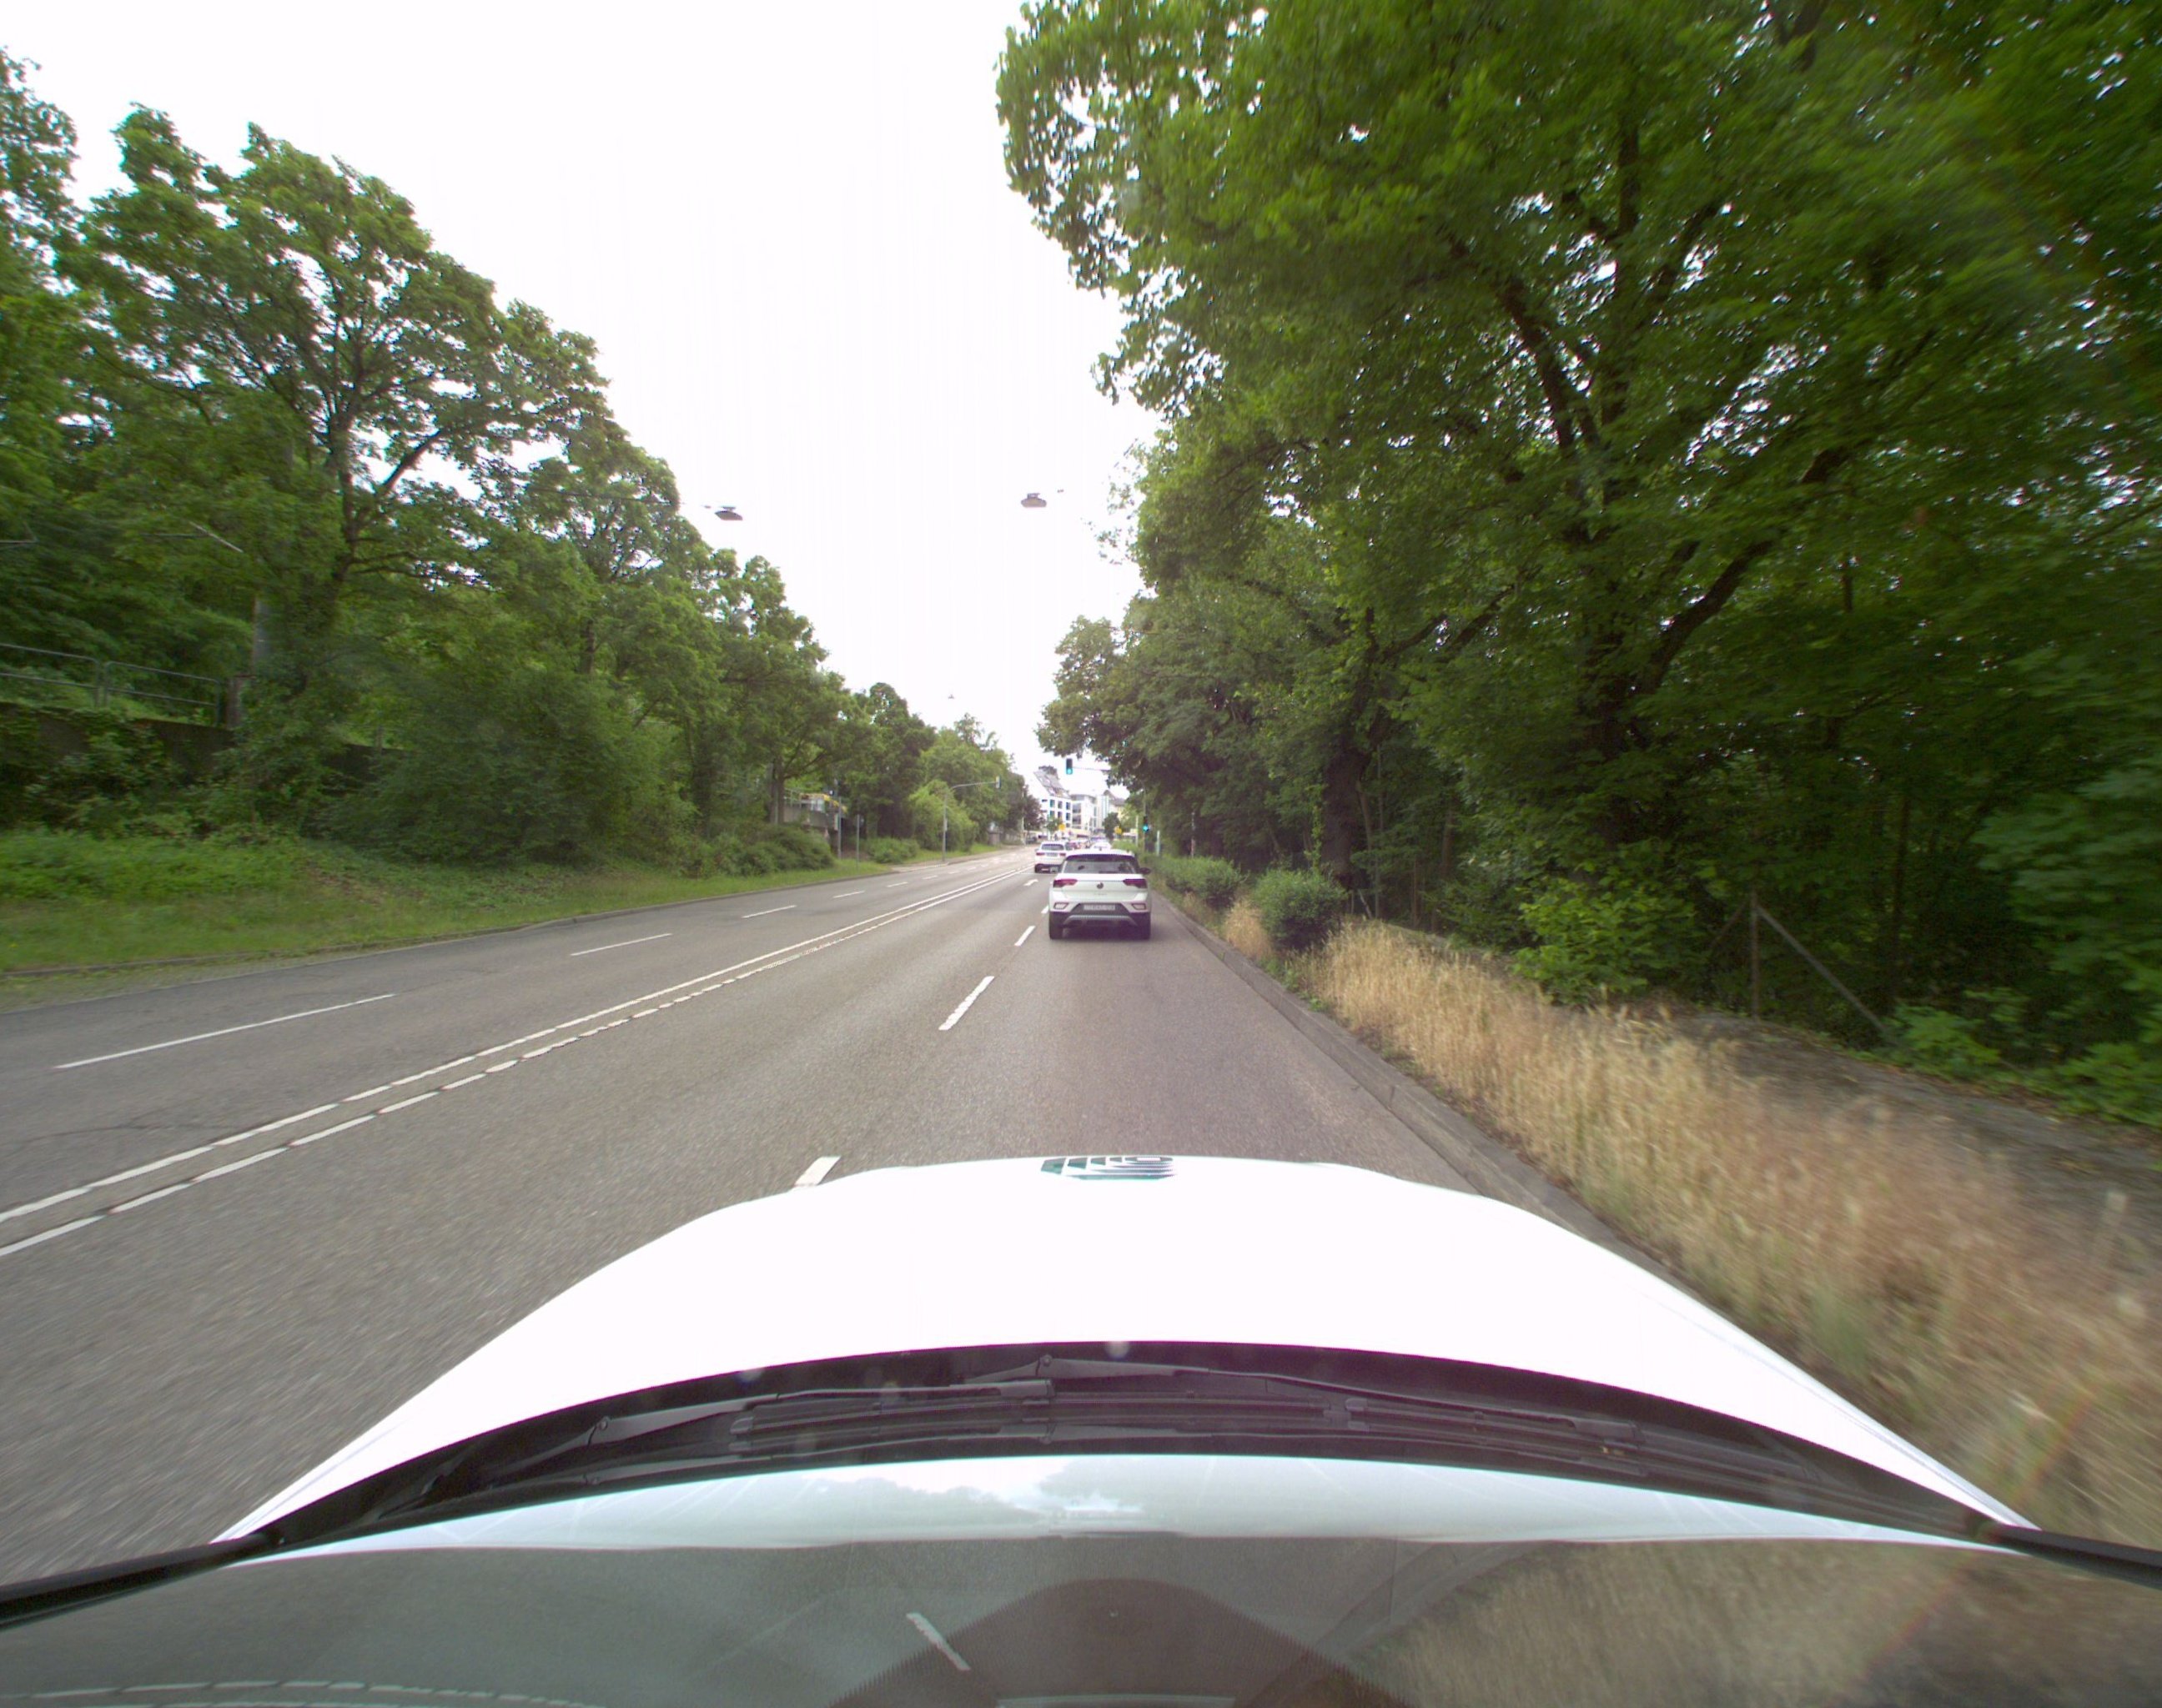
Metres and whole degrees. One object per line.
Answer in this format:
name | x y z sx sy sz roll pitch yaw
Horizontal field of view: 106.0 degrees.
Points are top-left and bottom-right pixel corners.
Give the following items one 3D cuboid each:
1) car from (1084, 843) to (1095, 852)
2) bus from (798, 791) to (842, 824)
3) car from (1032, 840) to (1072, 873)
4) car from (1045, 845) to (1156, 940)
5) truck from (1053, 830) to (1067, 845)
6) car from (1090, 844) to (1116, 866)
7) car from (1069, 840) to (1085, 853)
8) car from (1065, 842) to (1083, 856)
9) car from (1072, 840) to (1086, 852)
car | 1.549 -1.082 141.956 1.822 1.526 4.001 0 1 1
bus | -26.766 -4.709 83.886 2.536 2.789 7.932 0 -1 -4
car | -1.481 0.078 43.454 1.911 1.669 4.001 0 1 1
car | 0.362 0.617 15.448 1.823 1.526 4.001 1 1 1
truck | -3.801 -2.931 147.343 2.354 2.706 4.479 -1 1 1
car | 1.568 0.014 58.782 1.822 1.526 4.001 0 1 1
car | -0.491 -0.958 102.961 1.822 1.526 4.001 0 1 1
car | -0.758 -0.602 90.002 1.822 1.526 4.001 0 1 1
car | -0.276 -1.111 111.987 1.822 1.526 4.001 0 1 1
